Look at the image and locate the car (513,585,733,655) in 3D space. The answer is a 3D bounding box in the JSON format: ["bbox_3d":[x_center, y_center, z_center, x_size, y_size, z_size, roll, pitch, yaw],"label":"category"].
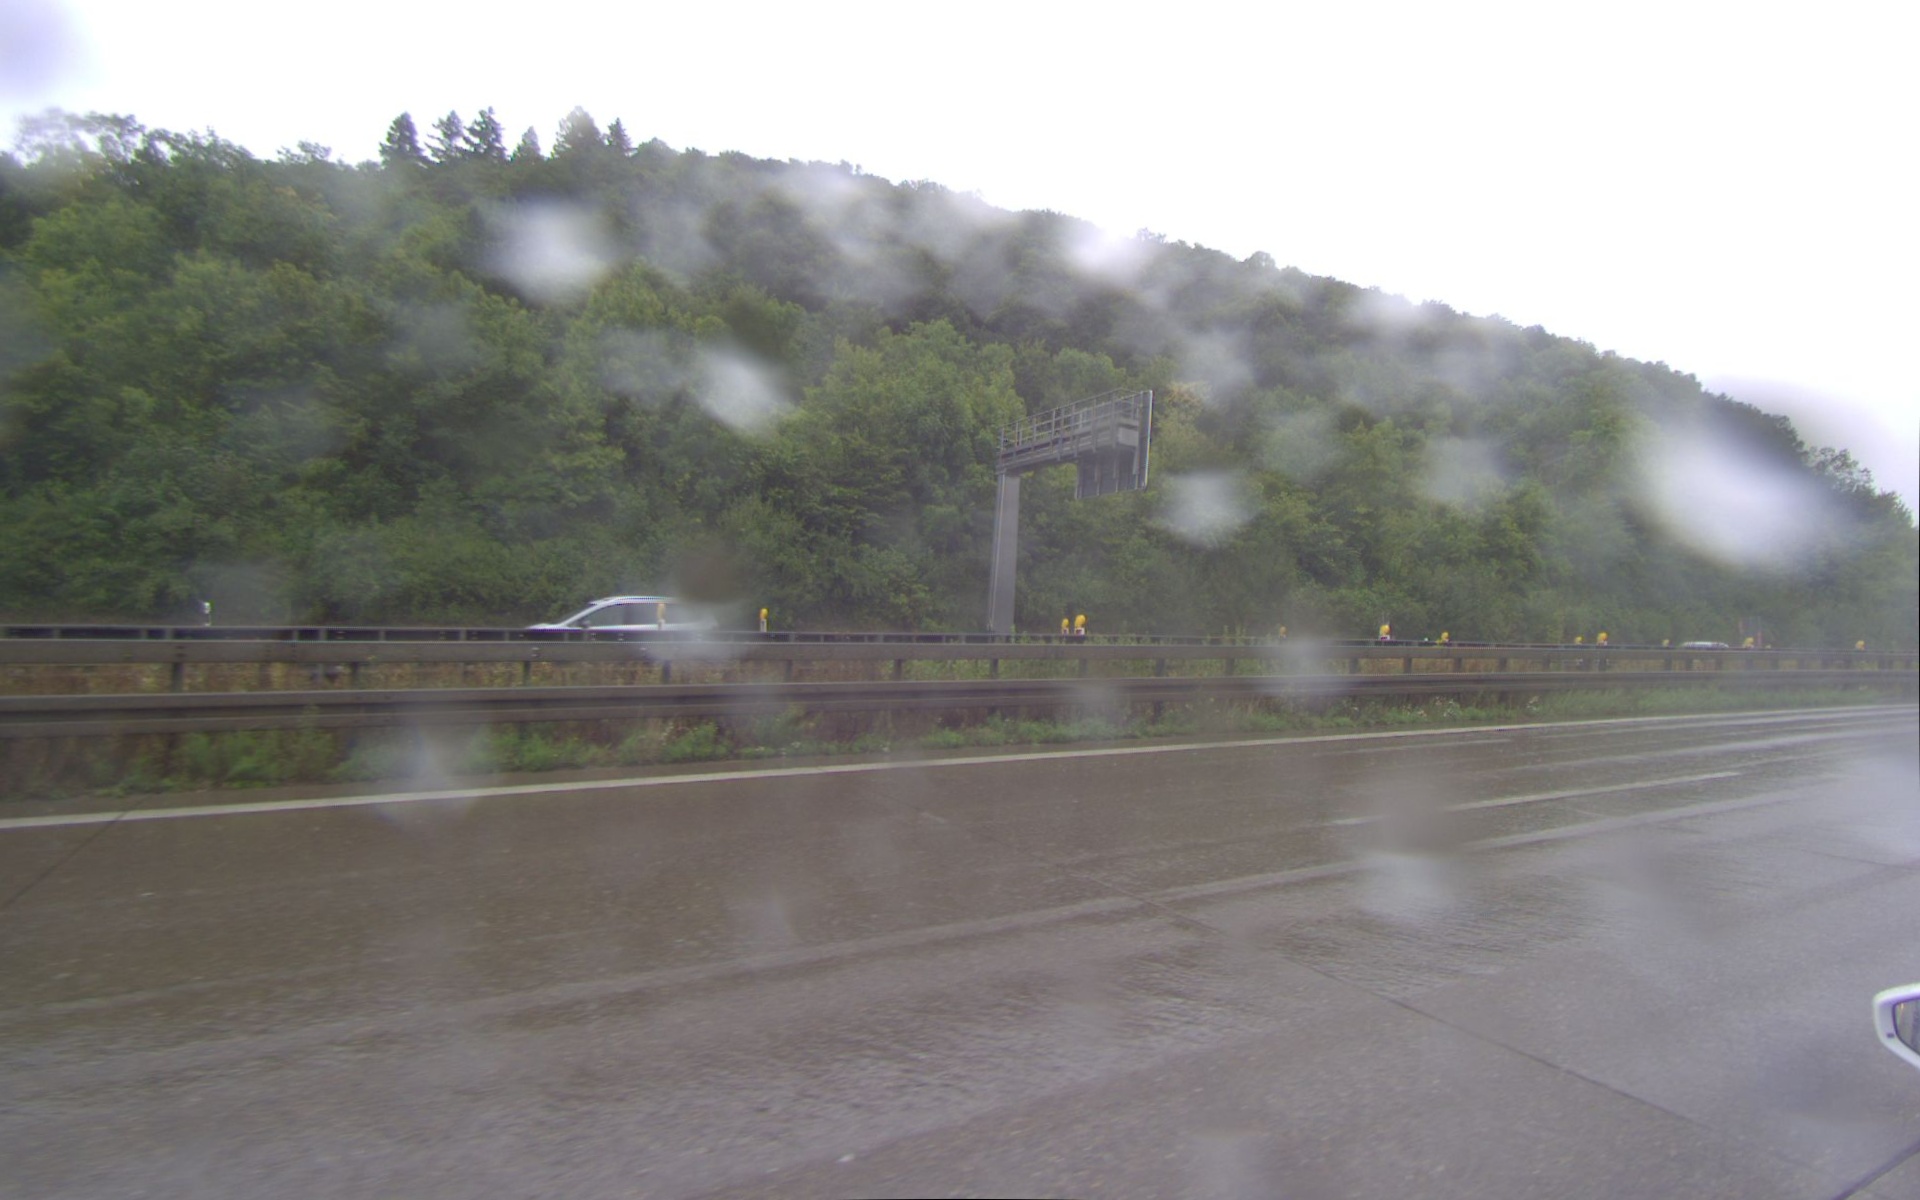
[{"bbox_3d":[-7.594,0.481,22.768,4.465,1.453,1.659,2,-1,-31],"label":"car"}]
